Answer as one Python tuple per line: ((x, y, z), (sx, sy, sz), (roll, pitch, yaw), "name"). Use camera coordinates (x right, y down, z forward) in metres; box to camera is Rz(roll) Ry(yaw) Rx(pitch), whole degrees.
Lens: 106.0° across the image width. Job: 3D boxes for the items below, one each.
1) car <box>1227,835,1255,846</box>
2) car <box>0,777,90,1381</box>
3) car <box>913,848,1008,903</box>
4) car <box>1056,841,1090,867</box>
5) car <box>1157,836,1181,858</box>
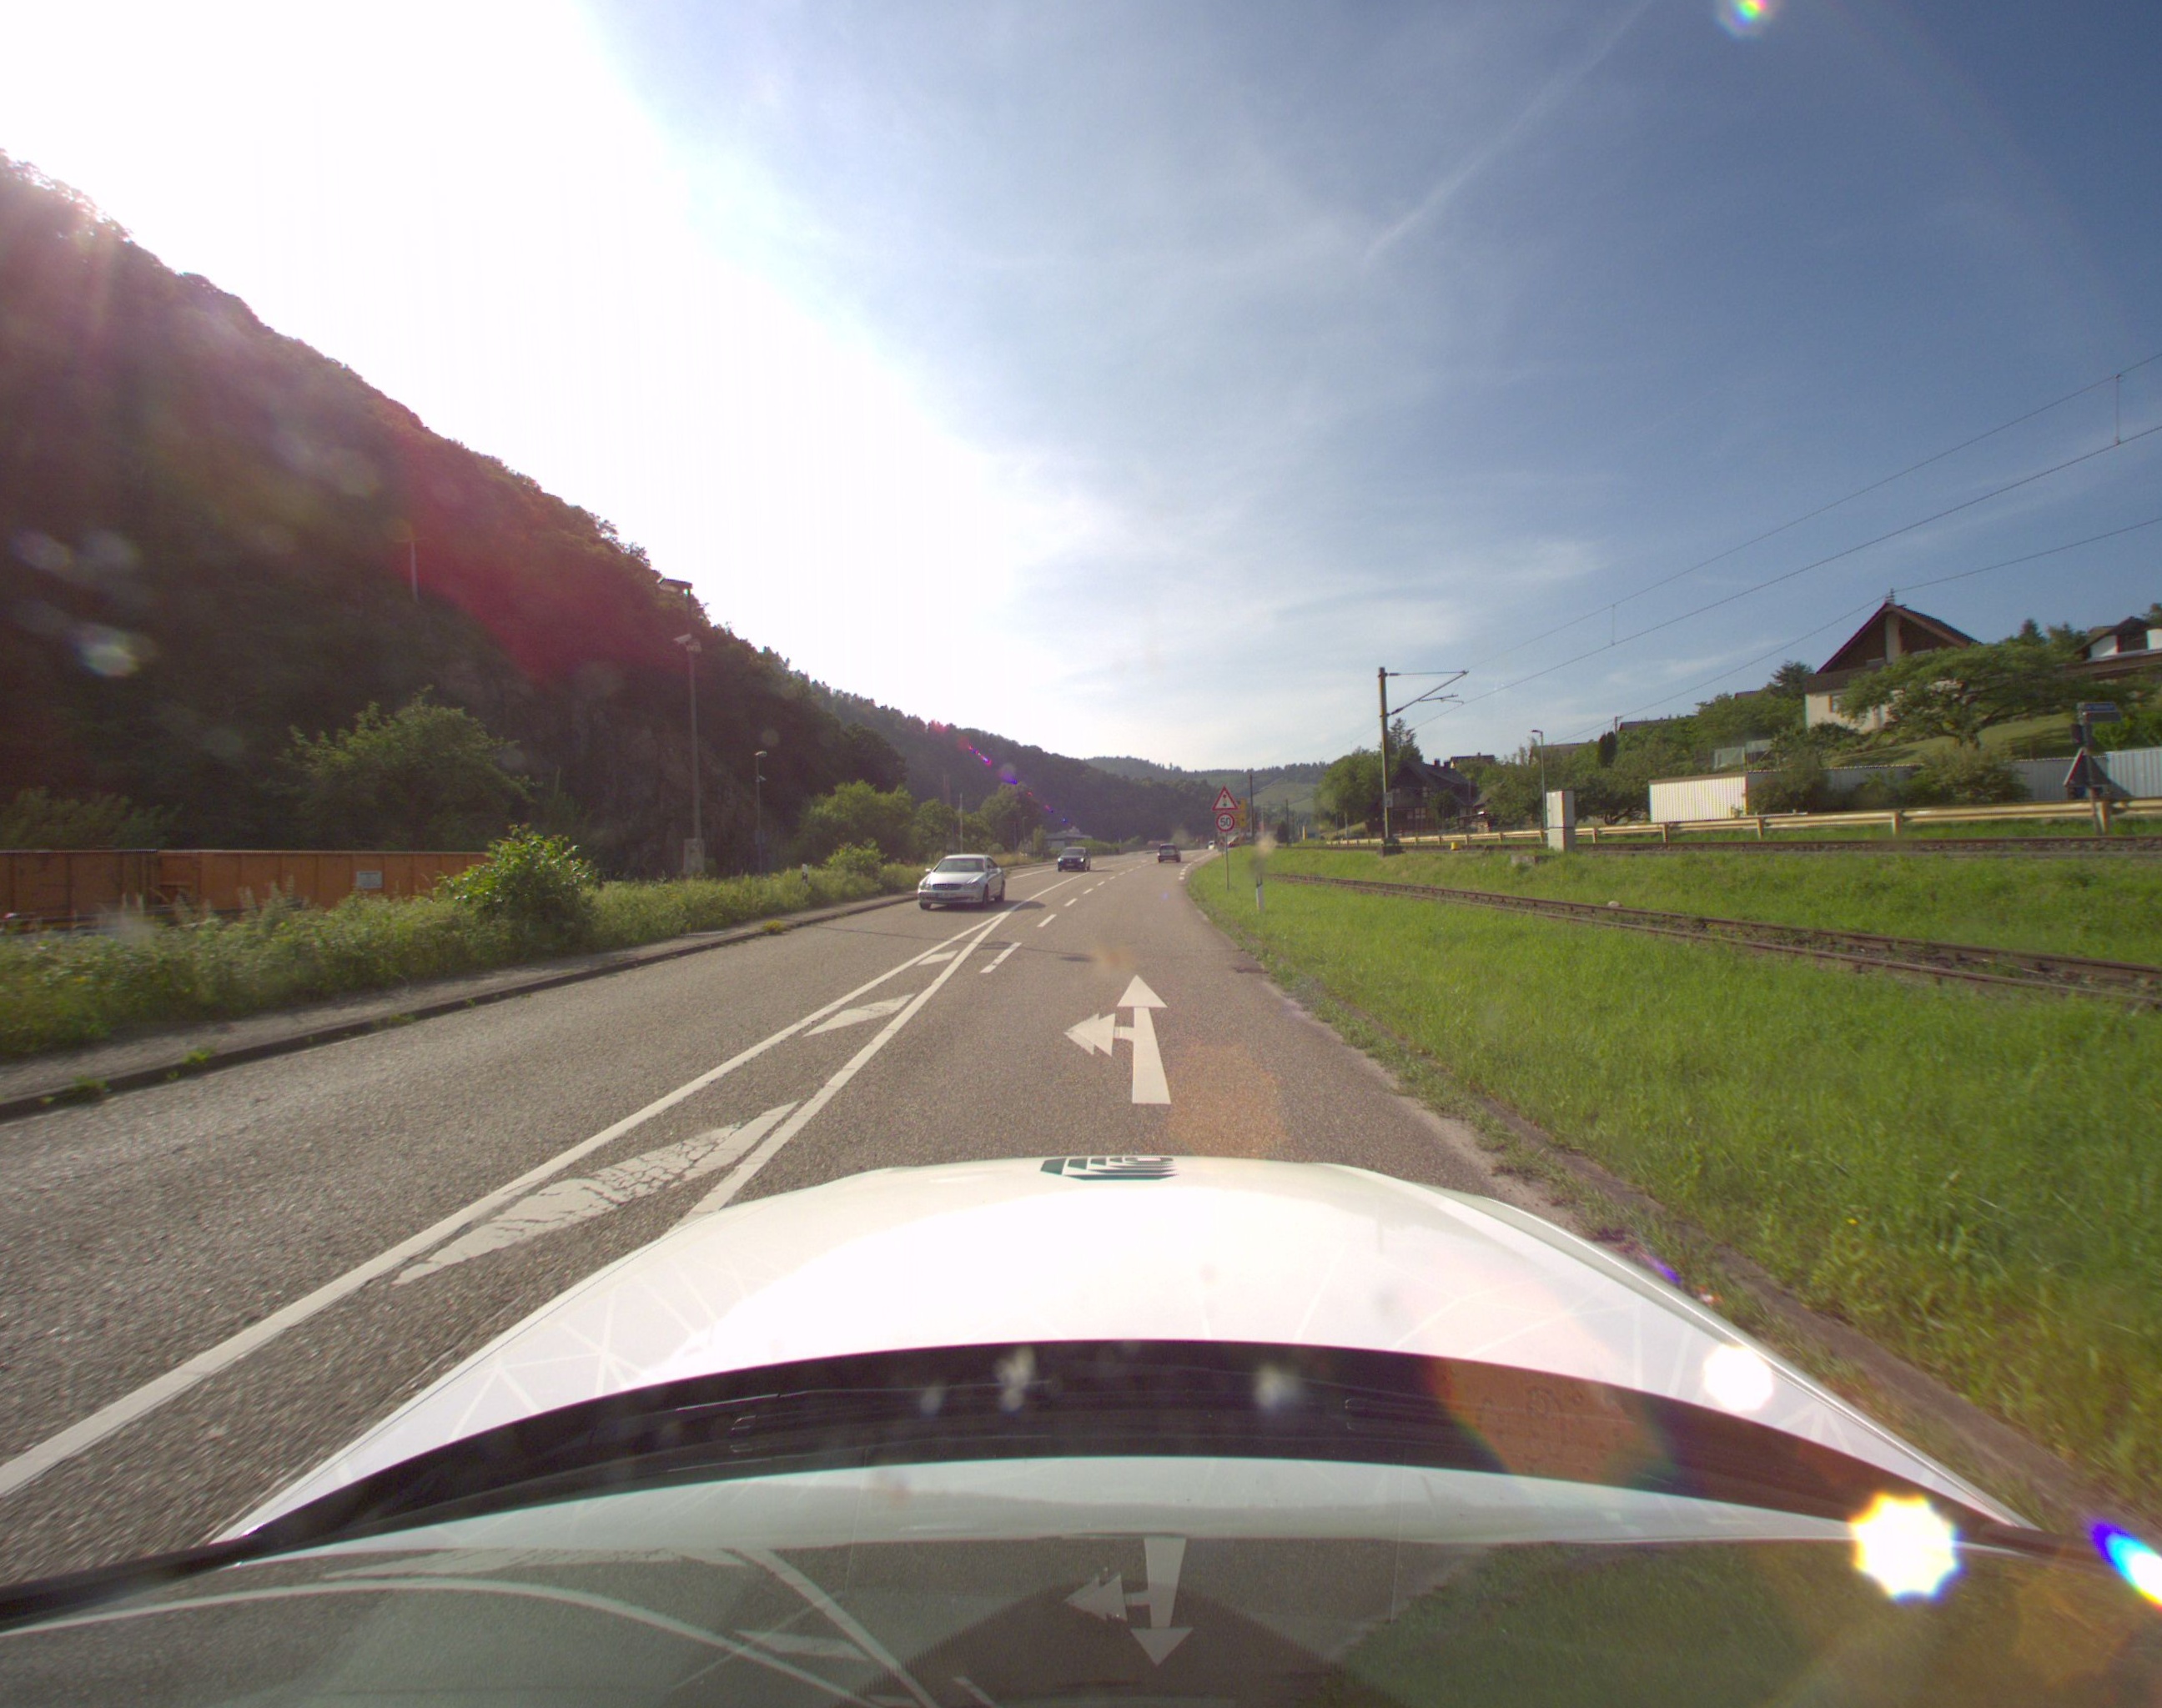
((33.491, -2.873, 170.898), (5.273, 2.013, 1.995), (-4, 0, -7), "car")
((-3.863, 0.625, 0.512), (1.716, 1.624, 3.799), (-1, 0, 3), "car")
((-3.173, 0.513, 22.326), (1.771, 1.348, 4.512), (0, 0, 2), "car")
((-0.465, -0.006, 52.369), (1.839, 1.585, 4.321), (0, 1, 4), "car")
((7.730, -0.606, 71.775), (1.984, 1.723, 3.997), (-4, 0, 6), "car")
